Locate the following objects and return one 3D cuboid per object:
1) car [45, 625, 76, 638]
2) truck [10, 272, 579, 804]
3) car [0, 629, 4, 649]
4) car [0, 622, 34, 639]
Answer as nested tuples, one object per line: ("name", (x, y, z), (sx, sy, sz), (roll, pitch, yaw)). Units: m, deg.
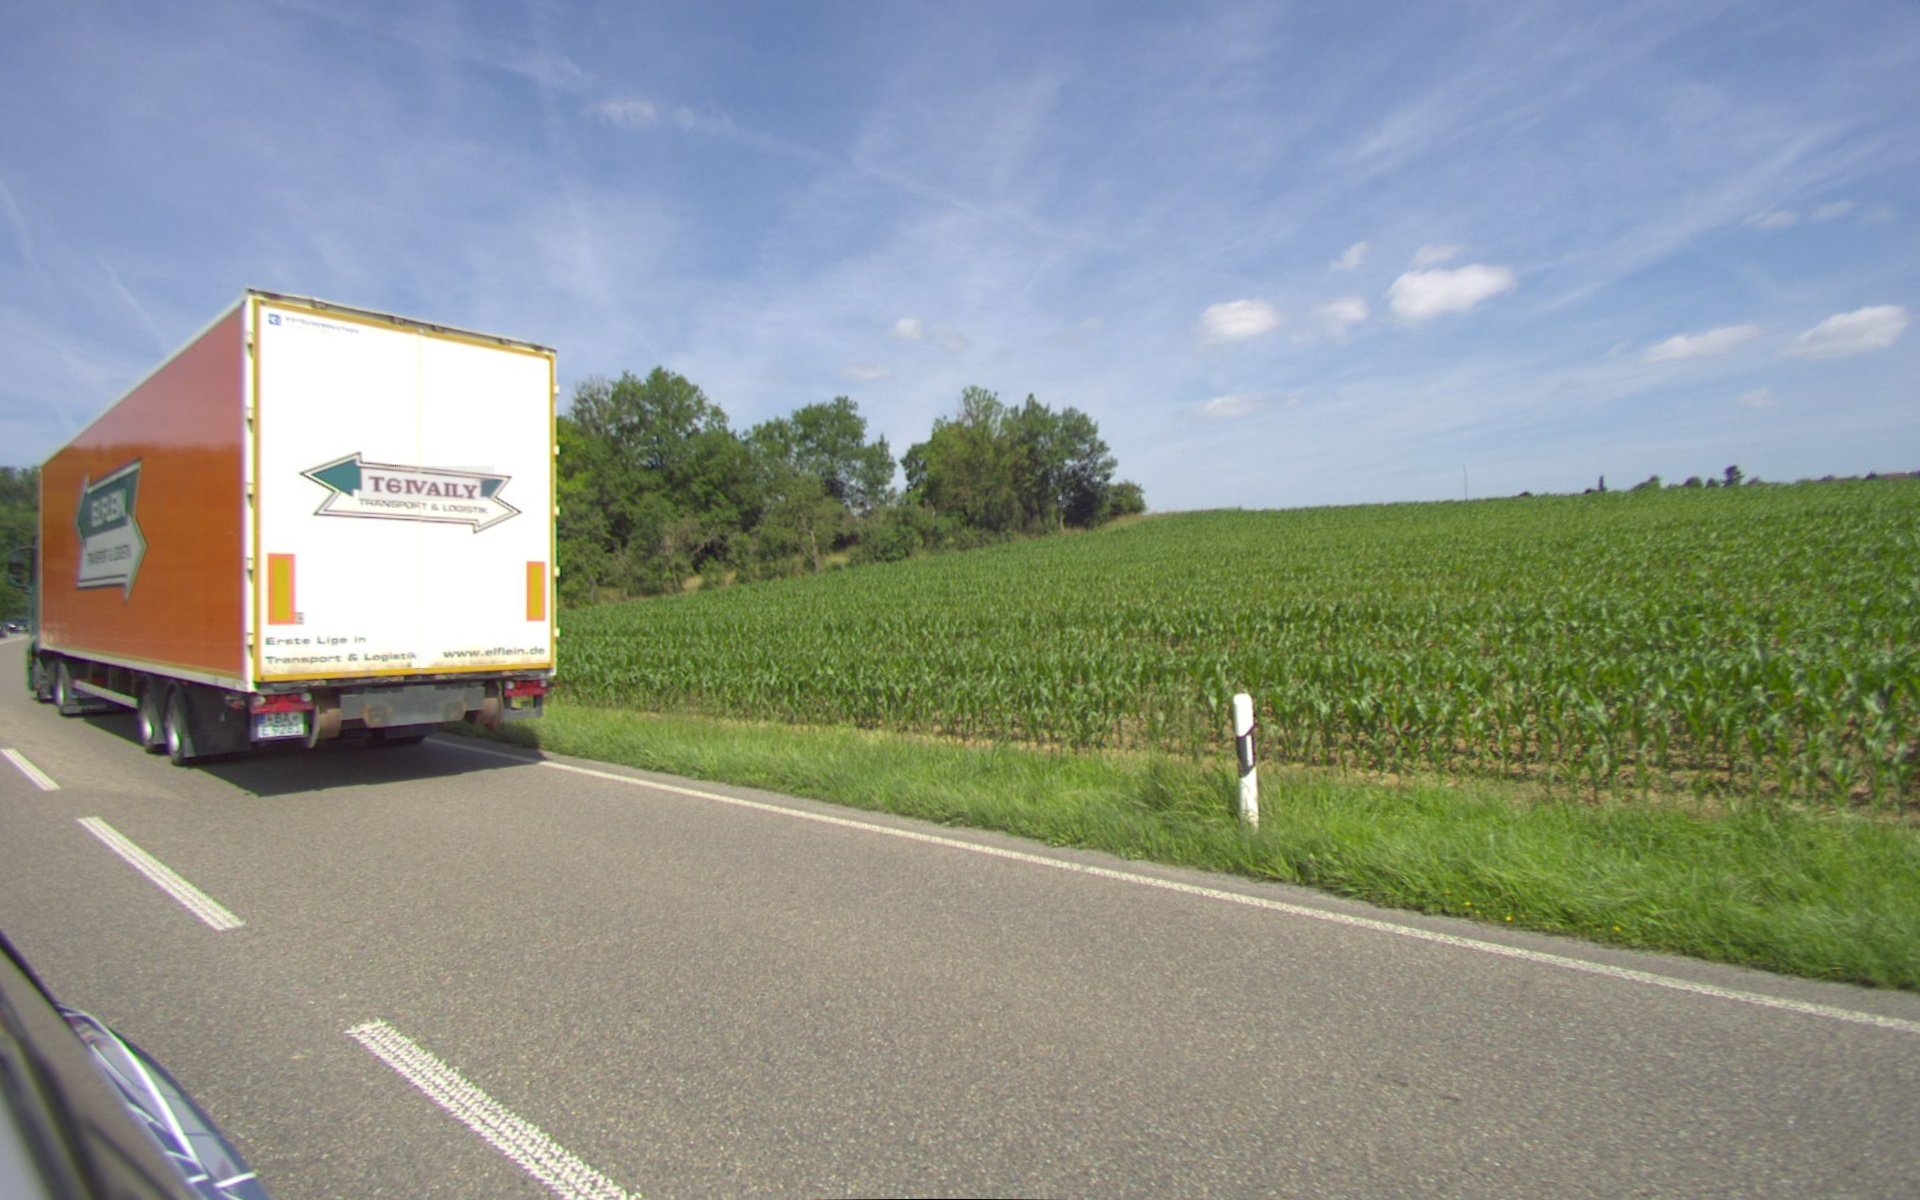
("car", (-101.939, 3.558, 114.720), (1.714, 1.465, 4.048), (0, -1, -29))
("truck", (-10.830, -0.306, 14.437), (17.025, 4.029, 2.741), (-2, -1, 43))
("car", (-71.385, 2.898, 73.974), (1.716, 1.465, 4.045), (0, -1, -37))
("car", (-84.603, 2.708, 90.761), (1.715, 1.465, 4.046), (0, -1, -35))
